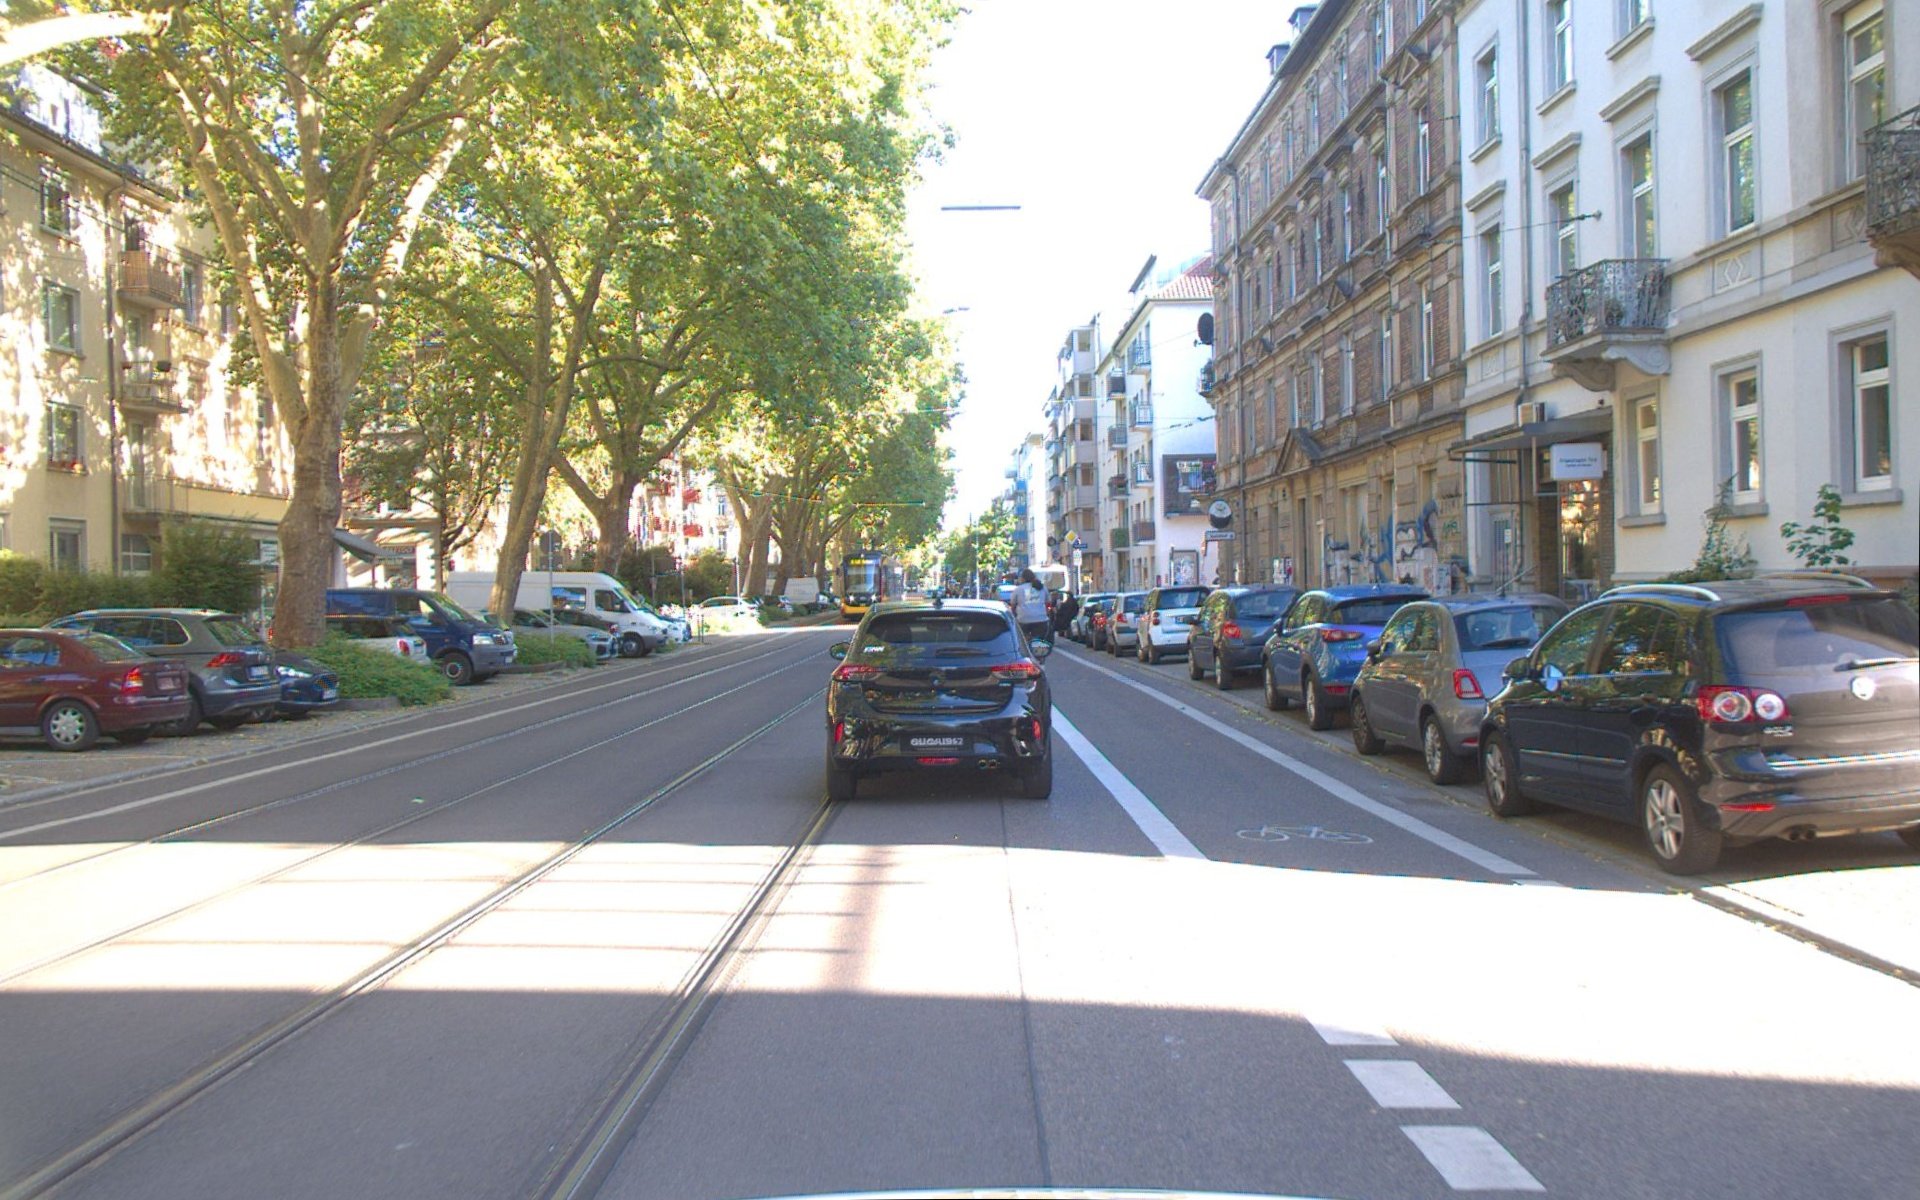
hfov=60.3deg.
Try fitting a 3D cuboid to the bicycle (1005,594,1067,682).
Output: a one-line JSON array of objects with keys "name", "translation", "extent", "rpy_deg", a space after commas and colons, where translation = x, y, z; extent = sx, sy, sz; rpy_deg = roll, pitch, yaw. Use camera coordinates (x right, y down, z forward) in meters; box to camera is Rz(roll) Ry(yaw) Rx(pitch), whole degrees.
[{"name": "bicycle", "translation": [1.275, 0.614, 28.239], "extent": [0.843, 1.431, 2.523], "rpy_deg": [-1, 0, -2]}]

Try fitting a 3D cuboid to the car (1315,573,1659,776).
[{"name": "car", "translation": [4.632, 0.594, 15.146], "extent": [1.763, 1.481, 3.767], "rpy_deg": [-5, 0, -2]}]

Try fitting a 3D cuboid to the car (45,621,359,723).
[{"name": "car", "translation": [-11.248, 1.044, 24.747], "extent": [3.841, 1.446, 1.818], "rpy_deg": [0, 0, -2]}]

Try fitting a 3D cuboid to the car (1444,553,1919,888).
[{"name": "car", "translation": [4.728, 0.612, 10.607], "extent": [1.843, 1.613, 3.931], "rpy_deg": [-5, 0, -3]}]

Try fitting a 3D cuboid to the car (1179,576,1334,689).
[{"name": "car", "translation": [4.589, 0.464, 26.097], "extent": [1.676, 1.509, 3.764], "rpy_deg": [-5, 0, 0]}]

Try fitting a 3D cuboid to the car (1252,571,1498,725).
[{"name": "car", "translation": [4.787, 0.504, 19.658], "extent": [1.842, 1.481, 4.026], "rpy_deg": [-5, 0, 1]}]

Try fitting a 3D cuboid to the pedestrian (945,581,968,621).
[{"name": "pedestrian", "translation": [-0.134, 0.038, 66.876], "extent": [0.665, 1.594, 0.768], "rpy_deg": [-1, 0, 25]}]

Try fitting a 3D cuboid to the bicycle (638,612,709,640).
[{"name": "bicycle", "translation": [-12.406, 1.123, 71.618], "extent": [2.880, 1.190, 0.991], "rpy_deg": [-1, 0, 16]}]

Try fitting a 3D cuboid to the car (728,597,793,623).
[{"name": "car", "translation": [-12.199, 0.612, 101.315], "extent": [3.842, 1.524, 1.676], "rpy_deg": [0, 0, -4]}]

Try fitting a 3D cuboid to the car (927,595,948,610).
[{"name": "car", "translation": [-2.011, 0.221, 149.067], "extent": [1.773, 1.361, 3.931], "rpy_deg": [-1, 0, -2]}]

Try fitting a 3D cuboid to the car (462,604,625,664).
[{"name": "car", "translation": [-10.924, 0.885, 43.563], "extent": [3.839, 1.524, 1.677], "rpy_deg": [0, 0, 0]}]

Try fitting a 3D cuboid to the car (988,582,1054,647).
[{"name": "car", "translation": [1.734, 0.397, 48.273], "extent": [1.772, 1.772, 3.933], "rpy_deg": [-2, 0, 1]}]

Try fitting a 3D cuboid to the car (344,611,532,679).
[{"name": "car", "translation": [-11.587, 0.991, 36.846], "extent": [3.658, 1.455, 1.637], "rpy_deg": [0, 0, -1]}]

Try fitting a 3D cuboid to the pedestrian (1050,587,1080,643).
[{"name": "pedestrian", "translation": [3.076, 0.429, 48.386], "extent": [0.848, 1.594, 0.768], "rpy_deg": [-1, 0, 2]}]

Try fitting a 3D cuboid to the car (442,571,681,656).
[{"name": "car", "translation": [-11.774, 0.387, 49.238], "extent": [6.492, 2.451, 2.457], "rpy_deg": [0, 0, -1]}]

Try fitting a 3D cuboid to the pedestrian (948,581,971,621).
[{"name": "pedestrian", "translation": [-0.023, 0.032, 67.692], "extent": [0.665, 1.594, 0.768], "rpy_deg": [-1, 0, 25]}]

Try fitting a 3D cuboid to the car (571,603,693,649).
[{"name": "car", "translation": [-11.041, 0.870, 55.880], "extent": [3.842, 1.524, 1.676], "rpy_deg": [0, 0, -4]}]

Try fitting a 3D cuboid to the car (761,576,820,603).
[{"name": "car", "translation": [-11.307, -0.709, 110.712], "extent": [3.842, 1.821, 1.676], "rpy_deg": [0, 0, -4]}]

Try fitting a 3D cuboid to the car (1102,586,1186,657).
[{"name": "car", "translation": [4.374, 0.472, 39.711], "extent": [1.670, 1.481, 3.698], "rpy_deg": [-5, 0, 3]}]

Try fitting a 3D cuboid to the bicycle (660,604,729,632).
[{"name": "bicycle", "translation": [-11.861, 0.806, 73.796], "extent": [2.880, 1.190, 0.991], "rpy_deg": [-1, 0, 16]}]

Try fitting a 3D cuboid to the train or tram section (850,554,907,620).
[{"name": "train or tram section", "translation": [-4.947, -0.765, 102.205], "extent": [2.679, 3.746, 12.717], "rpy_deg": [-2, 0, 0]}]

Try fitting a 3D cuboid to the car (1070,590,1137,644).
[{"name": "car", "translation": [4.362, 0.489, 50.679], "extent": [1.628, 1.444, 3.933], "rpy_deg": [-5, 0, 1]}]

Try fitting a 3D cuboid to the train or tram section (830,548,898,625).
[{"name": "train or tram section", "translation": [-5.073, -0.703, 89.554], "extent": [2.679, 3.746, 12.717], "rpy_deg": [-2, 0, 0]}]

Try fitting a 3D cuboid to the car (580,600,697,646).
[{"name": "car", "translation": [-11.311, 0.798, 58.395], "extent": [3.842, 1.605, 1.676], "rpy_deg": [0, 0, -4]}]

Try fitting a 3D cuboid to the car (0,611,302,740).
[{"name": "car", "translation": [-11.214, 0.979, 22.318], "extent": [3.913, 1.655, 1.879], "rpy_deg": [0, 0, -1]}]

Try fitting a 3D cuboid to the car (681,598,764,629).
[{"name": "car", "translation": [-11.492, 0.651, 80.270], "extent": [3.842, 1.524, 1.676], "rpy_deg": [0, 0, -4]}]

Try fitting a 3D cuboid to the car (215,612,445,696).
[{"name": "car", "translation": [-11.829, 1.004, 31.211], "extent": [3.658, 1.524, 1.746], "rpy_deg": [0, 0, -1]}]

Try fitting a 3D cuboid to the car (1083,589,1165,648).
[{"name": "car", "translation": [4.364, 0.472, 44.555], "extent": [1.773, 1.361, 3.933], "rpy_deg": [-5, 0, 1]}]

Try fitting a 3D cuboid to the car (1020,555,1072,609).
[{"name": "car", "translation": [3.979, -0.816, 77.301], "extent": [2.033, 2.257, 4.933], "rpy_deg": [-5, 0, 1]}]

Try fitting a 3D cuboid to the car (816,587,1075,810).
[{"name": "car", "translation": [-0.124, 0.666, 13.155], "extent": [1.757, 1.466, 3.531], "rpy_deg": [-1, 1, -1]}]

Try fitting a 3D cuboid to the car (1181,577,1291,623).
[{"name": "car", "translation": [11.690, 0.003, 70.169], "extent": [4.289, 1.829, 1.876], "rpy_deg": [-1, 0, -2]}]

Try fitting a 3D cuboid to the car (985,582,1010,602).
[{"name": "car", "translation": [2.879, -0.634, 127.707], "extent": [1.773, 1.361, 3.933], "rpy_deg": [-5, 0, 1]}]

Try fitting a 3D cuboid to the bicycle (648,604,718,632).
[{"name": "bicycle", "translation": [-12.188, 0.789, 72.707], "extent": [2.880, 1.190, 0.991], "rpy_deg": [-1, 0, 16]}]

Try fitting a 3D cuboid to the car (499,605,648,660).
[{"name": "car", "translation": [-10.872, 0.903, 46.733], "extent": [3.842, 1.524, 1.676], "rpy_deg": [0, 0, -3]}]

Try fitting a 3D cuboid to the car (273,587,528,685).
[{"name": "car", "translation": [-11.477, 0.719, 34.144], "extent": [4.579, 1.957, 1.980], "rpy_deg": [0, 0, 0]}]

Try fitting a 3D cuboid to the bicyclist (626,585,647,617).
[{"name": "bicyclist", "translation": [-18.163, 0.054, 93.003], "extent": [0.967, 1.787, 1.154], "rpy_deg": [-1, 0, -3]}]

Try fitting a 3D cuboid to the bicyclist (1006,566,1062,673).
[{"name": "bicyclist", "translation": [1.257, 0.328, 28.307], "extent": [0.831, 1.770, 1.161], "rpy_deg": [-1, 0, -2]}]

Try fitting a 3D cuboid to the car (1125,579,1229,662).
[{"name": "car", "translation": [4.506, 0.407, 34.660], "extent": [1.536, 1.543, 3.039], "rpy_deg": [-5, 0, -3]}]

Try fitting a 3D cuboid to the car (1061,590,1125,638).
[{"name": "car", "translation": [4.427, 0.457, 55.475], "extent": [1.773, 1.403, 3.933], "rpy_deg": [-5, 0, 1]}]

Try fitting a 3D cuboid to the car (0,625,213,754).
[{"name": "car", "translation": [-11.402, 1.056, 20.086], "extent": [3.840, 1.467, 1.748], "rpy_deg": [0, 0, -1]}]
